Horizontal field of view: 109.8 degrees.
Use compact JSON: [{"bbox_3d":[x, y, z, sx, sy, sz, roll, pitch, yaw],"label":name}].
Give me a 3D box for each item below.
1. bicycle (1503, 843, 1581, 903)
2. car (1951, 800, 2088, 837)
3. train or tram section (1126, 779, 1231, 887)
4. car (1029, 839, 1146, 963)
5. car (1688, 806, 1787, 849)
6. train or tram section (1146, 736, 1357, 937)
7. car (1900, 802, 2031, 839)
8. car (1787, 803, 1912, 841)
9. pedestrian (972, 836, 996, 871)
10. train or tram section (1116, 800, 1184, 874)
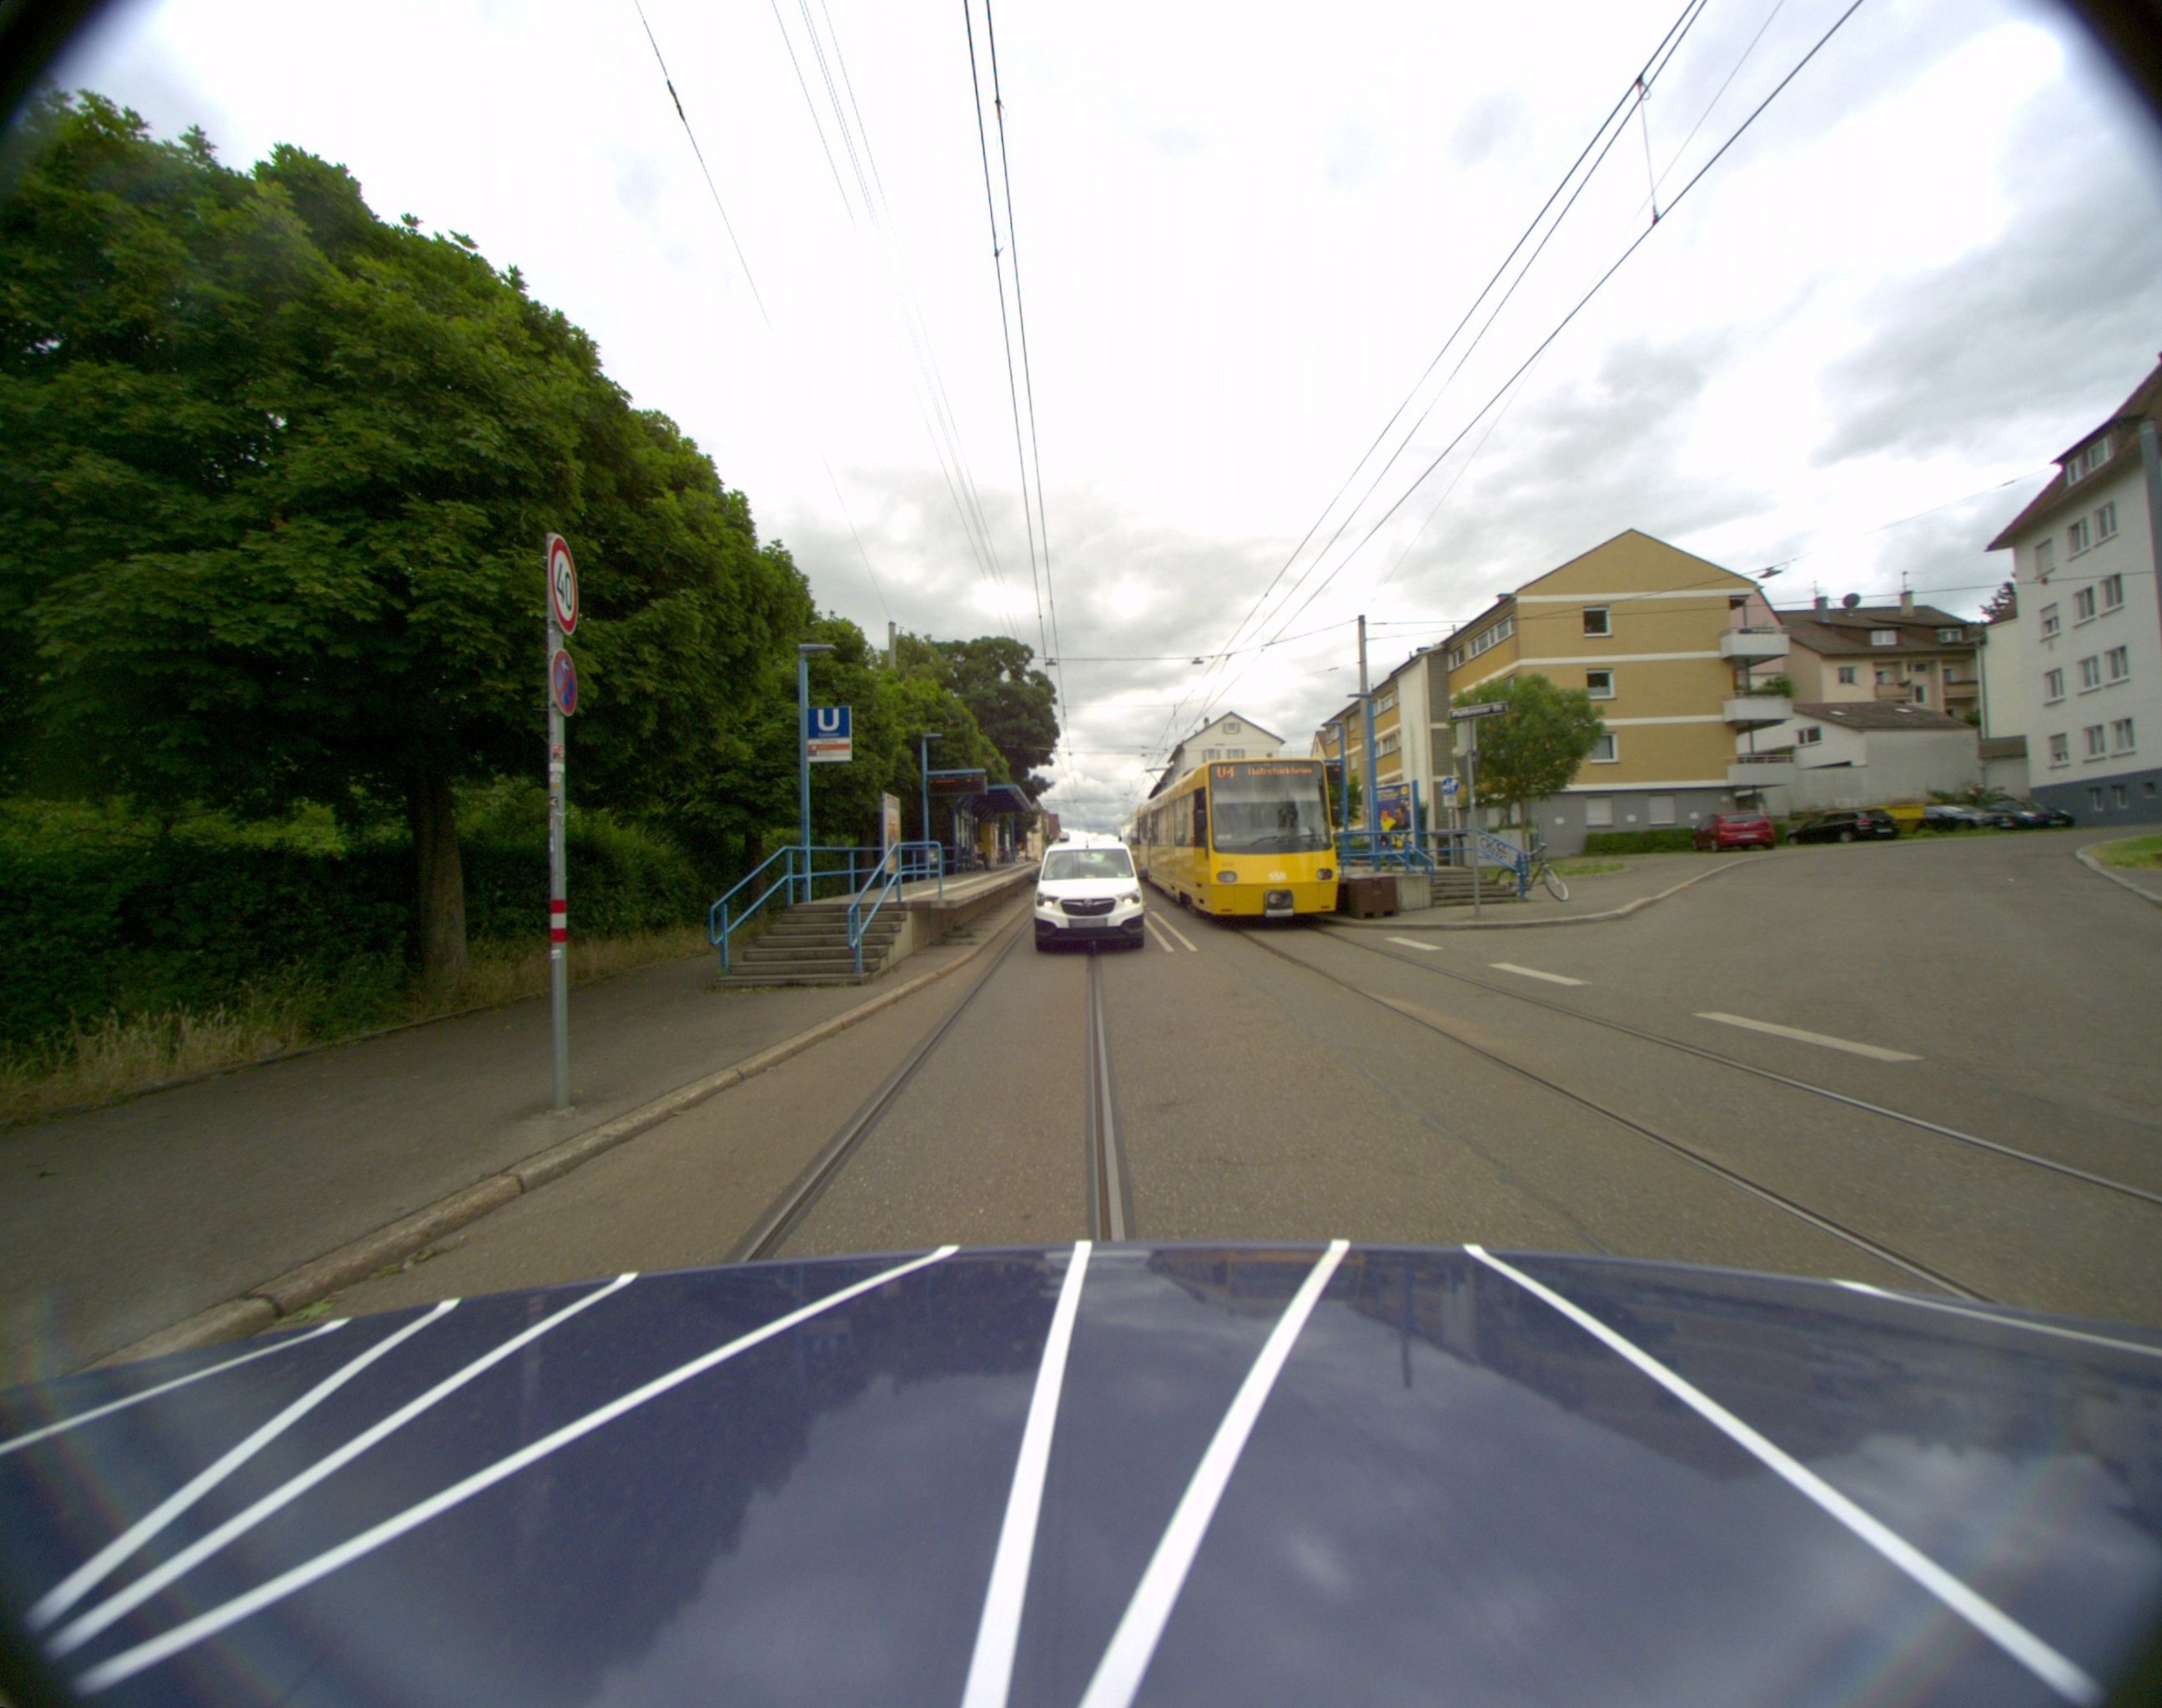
[{"bbox_3d":[9.474,0.362,15.686,0.713,1.174,1.488,-2,1,1],"label":"bicycle"},{"bbox_3d":[41.401,-1.516,33.669,1.839,1.455,4.004,-2,1,16],"label":"car"},{"bbox_3d":[3.739,-0.758,32.332,2.831,3.615,12.128,-2,0,0],"label":"train or tram section"},{"bbox_3d":[0.173,0.718,13.938,1.730,1.850,4.421,-2,0,2],"label":"car"},{"bbox_3d":[24.677,-0.968,28.724,1.838,1.455,4.006,-2,1,26],"label":"car"},{"bbox_3d":[3.688,-0.371,20.160,2.857,3.615,12.129,-2,0,1],"label":"train or tram section"},{"bbox_3d":[38.699,-1.405,33.407,1.839,1.455,4.004,-2,1,16],"label":"car"},{"bbox_3d":[33.392,-1.334,33.194,1.839,1.455,4.003,-2,1,10],"label":"car"},{"bbox_3d":[-3.763,-0.037,29.387,0.781,1.307,0.657,-2,1,1],"label":"pedestrian"},{"bbox_3d":[3.778,-0.918,44.546,2.758,3.615,12.128,-2,0,0],"label":"train or tram section"}]
